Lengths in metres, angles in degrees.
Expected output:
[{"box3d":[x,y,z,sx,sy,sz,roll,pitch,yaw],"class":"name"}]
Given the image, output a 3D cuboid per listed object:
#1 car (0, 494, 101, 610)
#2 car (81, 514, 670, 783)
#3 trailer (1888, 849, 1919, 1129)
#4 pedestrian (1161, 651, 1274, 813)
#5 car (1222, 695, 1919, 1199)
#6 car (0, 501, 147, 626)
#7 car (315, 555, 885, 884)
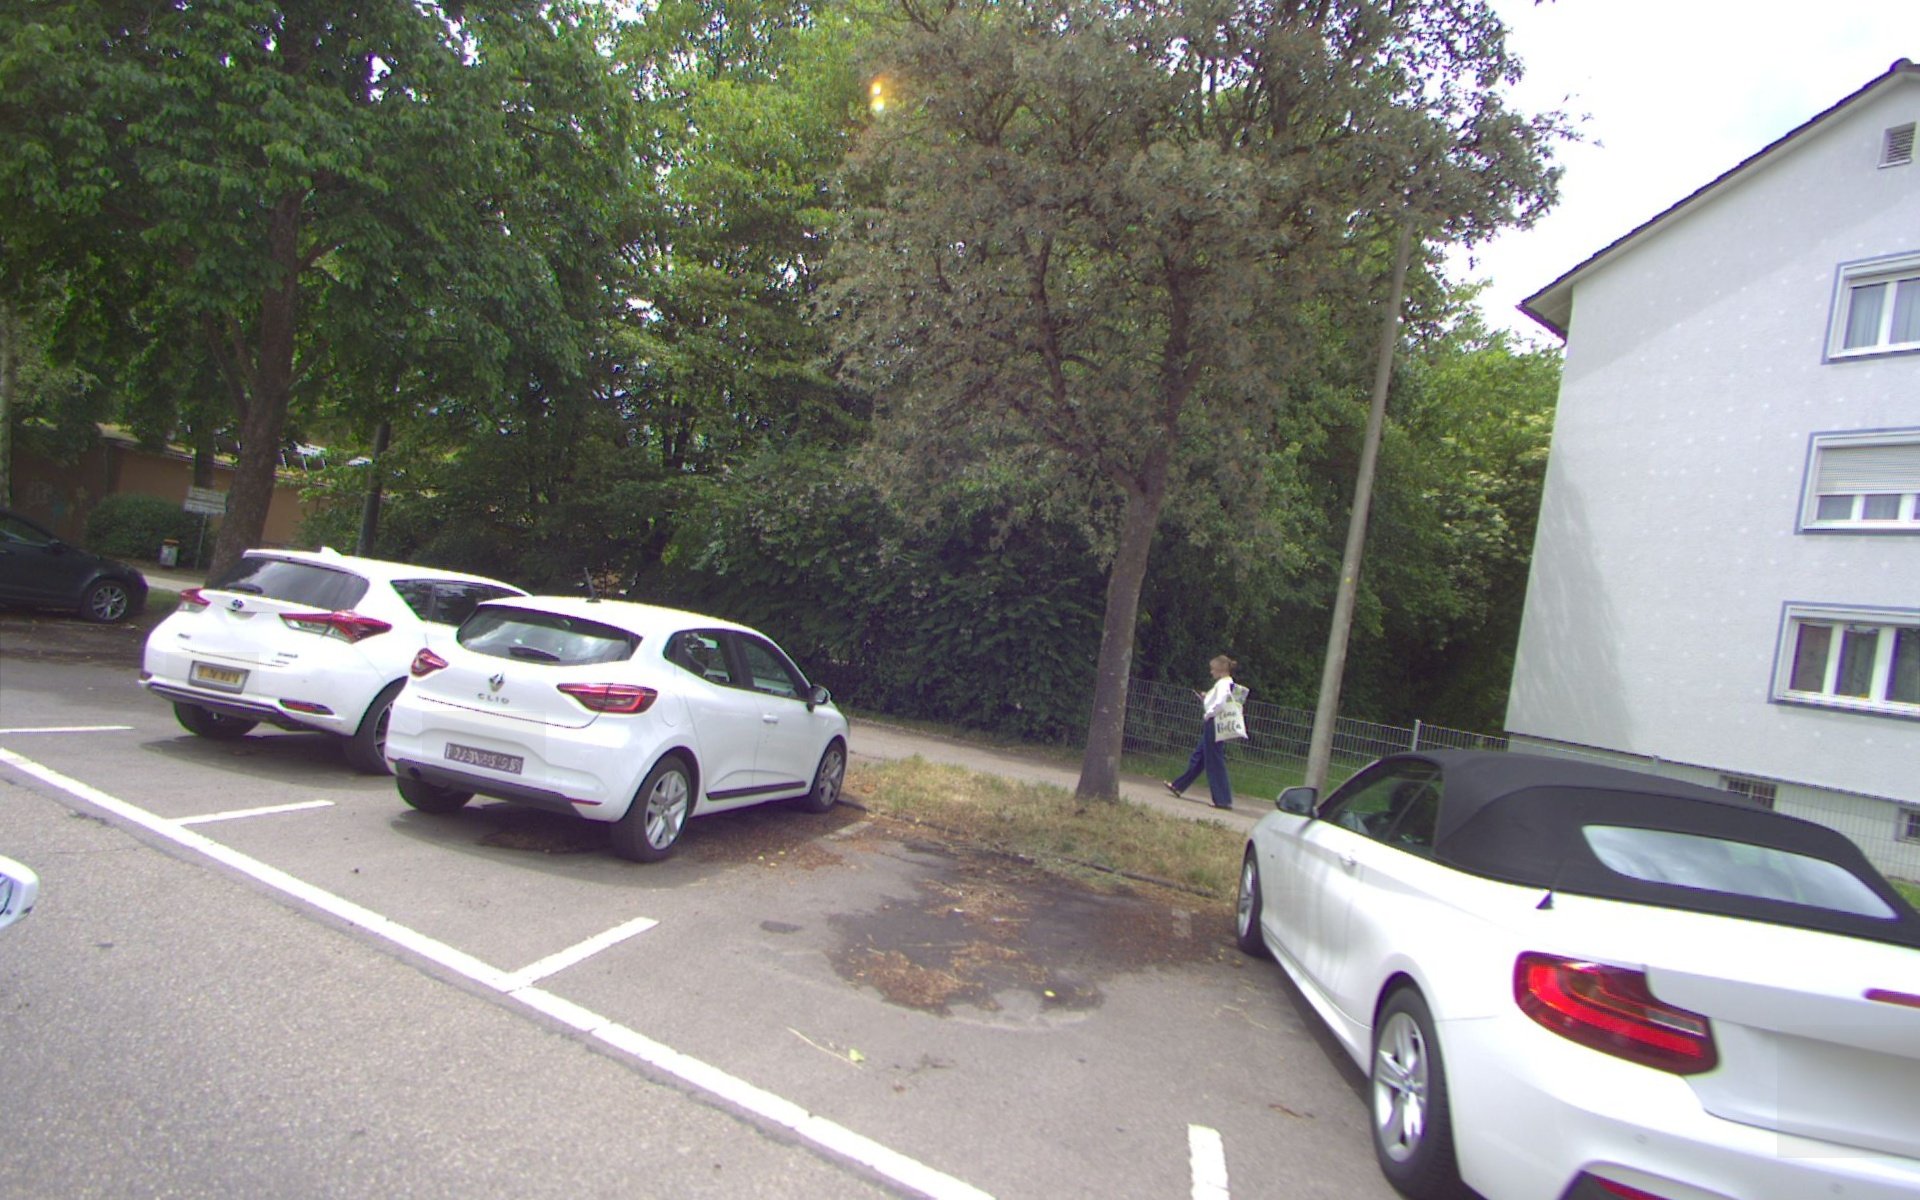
[{"box3d":[-15.400,-0.982,14.213,1.871,1.602,4.490,7,-3,19],"class":"car"},{"box3d":[-4.372,0.466,8.399,1.830,1.480,4.008,8,-3,14],"class":"car"},{"box3d":[4.662,1.499,2.447,1.627,1.570,4.006,8,-2,13],"class":"trailer"},{"box3d":[2.876,1.470,11.238,0.689,1.663,0.770,9,-1,-40],"class":"pedestrian"},{"box3d":[2.440,1.314,4.220,1.816,1.480,4.007,8,-3,6],"class":"car"},{"box3d":[-13.209,-0.658,12.759,1.764,1.480,4.155,8,-3,13],"class":"car"},{"box3d":[-2.113,0.781,7.271,1.762,1.480,4.008,8,-3,15],"class":"car"}]
